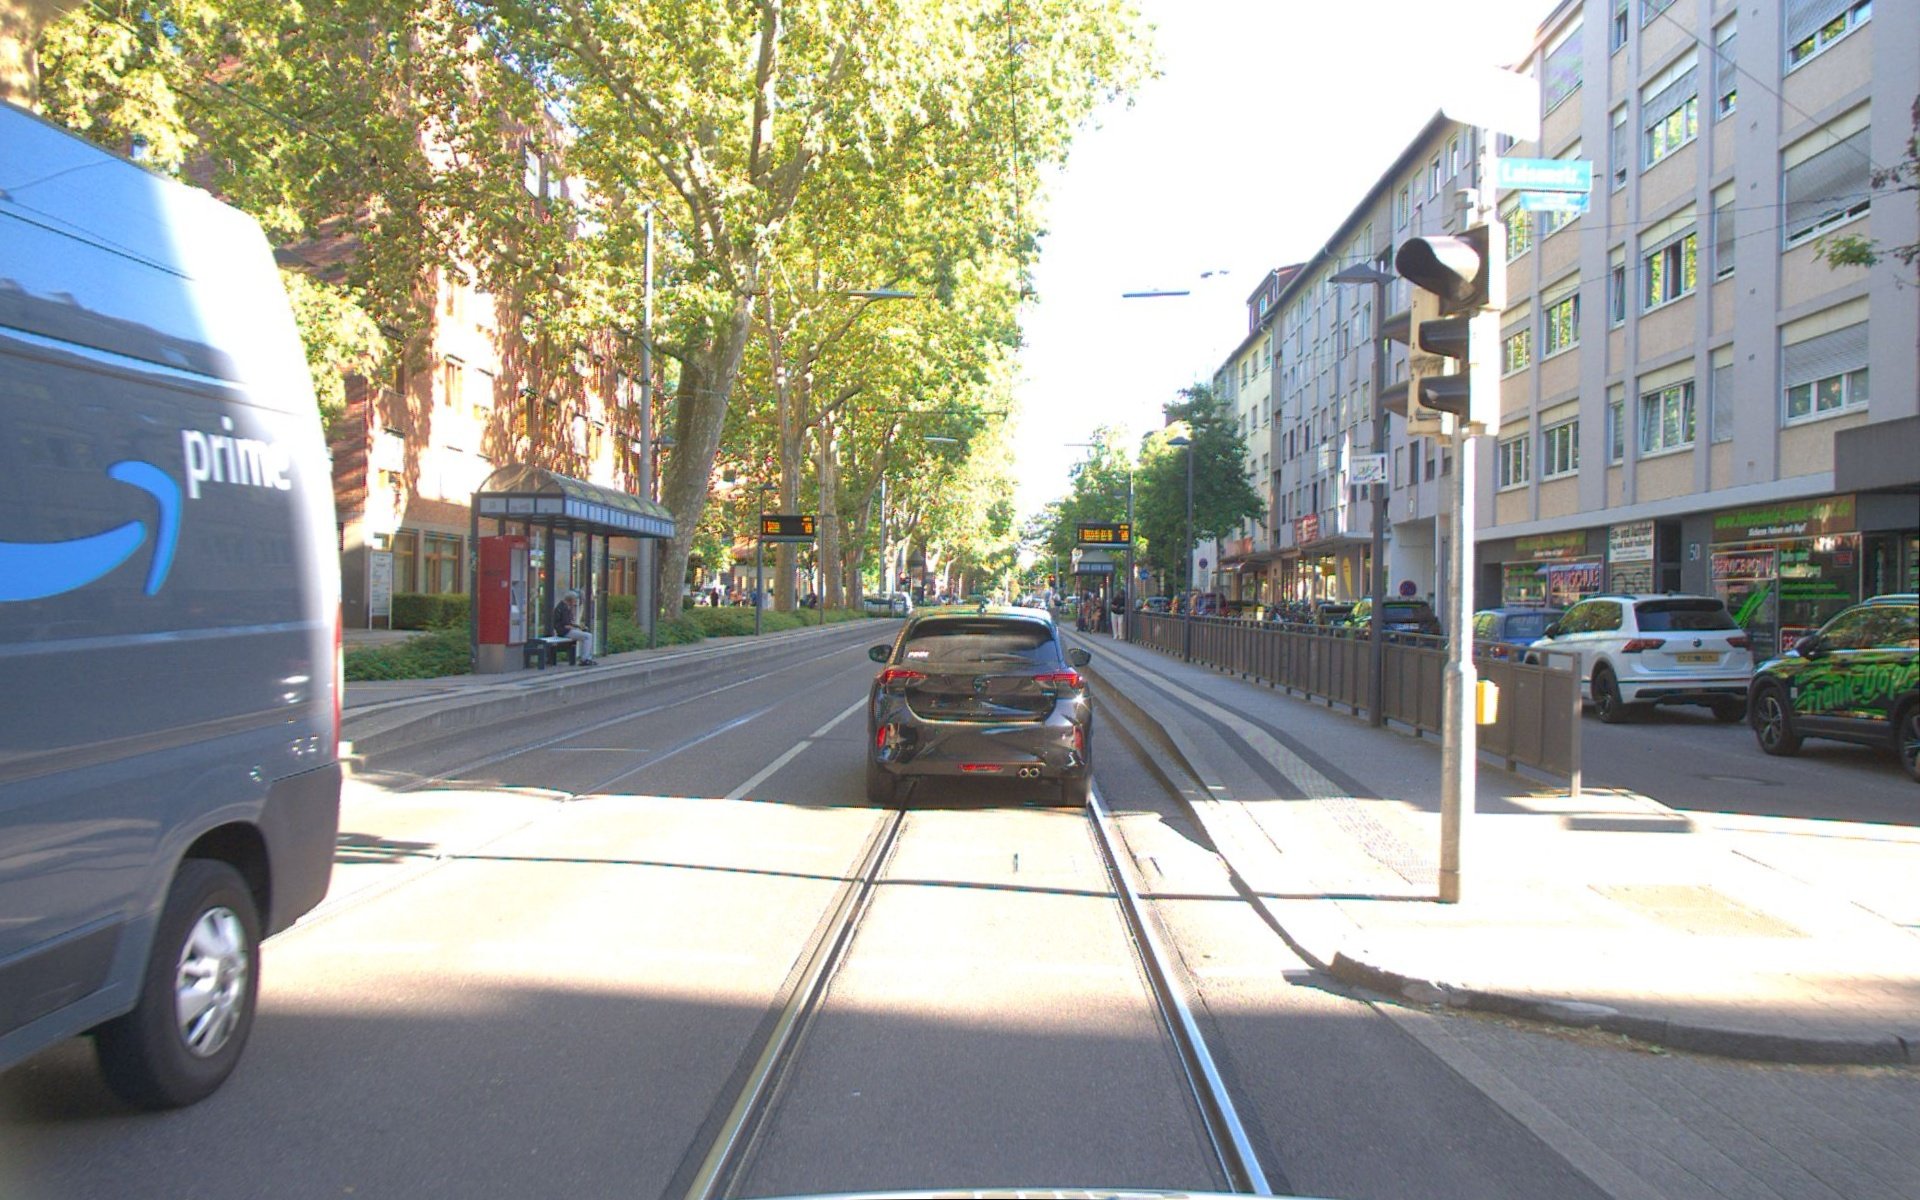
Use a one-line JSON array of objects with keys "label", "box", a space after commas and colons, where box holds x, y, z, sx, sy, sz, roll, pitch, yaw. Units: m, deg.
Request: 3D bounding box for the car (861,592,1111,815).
[{"label": "car", "box": [0.165, 0.730, 13.300, 1.724, 1.534, 3.682, 0, 0, -1]}]

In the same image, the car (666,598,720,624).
[{"label": "car", "box": [-22.608, 0.959, 139.989, 4.162, 2.049, 2.000, 2, -1, 1]}]

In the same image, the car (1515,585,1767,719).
[{"label": "car", "box": [9.311, 0.664, 23.024, 1.762, 1.634, 4.416, 2, 0, 2]}]

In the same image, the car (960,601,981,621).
[{"label": "car", "box": [0.844, 0.888, 137.007, 1.709, 1.571, 4.000, 2, 0, 0]}]

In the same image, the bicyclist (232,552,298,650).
[{"label": "bicyclist", "box": [-12.994, 0.020, 30.945, 0.759, 1.780, 0.997, 2, -1, -1]}]

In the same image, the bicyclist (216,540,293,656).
[{"label": "bicyclist", "box": [-11.278, -0.028, 26.467, 0.766, 1.794, 0.951, 2, -1, -1]}]

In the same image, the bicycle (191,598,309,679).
[{"label": "bicycle", "box": [-11.309, 0.599, 26.454, 0.766, 1.212, 2.595, 2, 0, -1]}]

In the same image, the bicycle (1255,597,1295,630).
[{"label": "bicycle", "box": [11.260, 0.476, 59.129, 0.591, 1.156, 2.429, 2, 0, -9]}]

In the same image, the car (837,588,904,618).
[{"label": "car", "box": [-5.587, 0.204, 102.919, 4.034, 1.730, 1.881, 2, -1, -6]}]

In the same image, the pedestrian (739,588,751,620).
[{"label": "pedestrian", "box": [-13.707, 0.250, 105.354, 0.658, 1.984, 0.498, 3, 0, -2]}]

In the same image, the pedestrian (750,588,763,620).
[{"label": "pedestrian", "box": [-12.855, 0.259, 104.598, 0.658, 1.984, 0.498, 3, 0, -2]}]

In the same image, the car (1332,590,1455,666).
[{"label": "car", "box": [10.106, 0.634, 38.841, 1.819, 1.644, 4.398, 2, 0, 2]}]

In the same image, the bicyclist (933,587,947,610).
[{"label": "bicyclist", "box": [-1.565, -0.142, 128.269, 0.921, 1.732, 1.153, 2, -1, 4]}]

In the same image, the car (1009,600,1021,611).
[{"label": "car", "box": [8.225, 0.827, 247.964, 1.709, 1.571, 4.000, 2, 0, 0]}]

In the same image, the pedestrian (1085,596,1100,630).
[{"label": "pedestrian", "box": [5.214, 0.504, 64.994, 0.492, 1.327, 0.428, 2, -1, -3]}]

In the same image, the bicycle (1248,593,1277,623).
[{"label": "bicycle", "box": [12.171, 0.321, 66.679, 0.585, 1.156, 2.202, 2, 0, -4]}]

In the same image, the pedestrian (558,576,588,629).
[{"label": "pedestrian", "box": [-12.877, 0.085, 54.994, 0.720, 1.701, 0.861, 2, -1, 2]}]

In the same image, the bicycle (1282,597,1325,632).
[{"label": "bicycle", "box": [11.711, 0.485, 56.474, 0.610, 1.156, 2.434, 2, 0, -9]}]

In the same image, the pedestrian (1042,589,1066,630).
[{"label": "pedestrian", "box": [4.088, 0.408, 71.836, 0.737, 1.739, 0.760, 1, -1, 36]}]

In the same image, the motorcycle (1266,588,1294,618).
[{"label": "motorcycle", "box": [14.137, 0.138, 73.158, 0.873, 1.302, 2.043, 2, 0, 2]}]

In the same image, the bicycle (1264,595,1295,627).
[{"label": "bicycle", "box": [12.088, 0.416, 62.627, 0.402, 1.156, 2.199, 2, 0, -9]}]

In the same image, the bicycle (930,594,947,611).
[{"label": "bicycle", "box": [-1.645, 0.215, 127.357, 0.935, 1.262, 2.979, 2, 0, 5]}]

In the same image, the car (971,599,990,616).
[{"label": "car", "box": [2.181, 0.845, 180.055, 1.953, 1.723, 4.000, 2, 0, 0]}]

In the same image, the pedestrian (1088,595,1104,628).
[{"label": "pedestrian", "box": [5.242, 0.458, 63.788, 0.523, 1.252, 0.510, 2, -1, -3]}]

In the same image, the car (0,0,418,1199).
[{"label": "car", "box": [-3.065, 0.032, 2.910, 2.070, 2.786, 6.115, 0, 0, 1]}]

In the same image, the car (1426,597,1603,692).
[{"label": "car", "box": [9.464, 0.732, 28.570, 1.708, 1.465, 4.248, 2, 0, 2]}]

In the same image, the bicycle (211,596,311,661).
[{"label": "bicycle", "box": [-13.016, 0.516, 30.893, 0.766, 1.130, 2.595, 2, 0, -1]}]

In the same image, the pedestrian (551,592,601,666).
[{"label": "pedestrian", "box": [-6.290, 0.466, 27.114, 0.691, 1.189, 0.659, 0, -1, -2]}]

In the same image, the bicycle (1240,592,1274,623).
[{"label": "bicycle", "box": [11.714, 0.297, 65.220, 0.586, 1.156, 2.199, 2, 0, -9]}]

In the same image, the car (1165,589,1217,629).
[{"label": "car", "box": [11.119, 0.458, 79.894, 1.952, 1.829, 4.000, 2, 0, 1]}]

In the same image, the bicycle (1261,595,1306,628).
[{"label": "bicycle", "box": [11.778, 0.412, 60.292, 0.600, 1.156, 2.915, 2, 0, -9]}]

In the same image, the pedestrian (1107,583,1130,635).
[{"label": "pedestrian", "box": [5.075, 0.288, 52.943, 0.618, 1.603, 0.871, 3, 0, 2]}]

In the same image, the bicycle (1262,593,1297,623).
[{"label": "bicycle", "box": [12.380, 0.310, 64.193, 0.586, 1.156, 2.199, 2, 0, -9]}]

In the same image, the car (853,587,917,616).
[{"label": "car", "box": [-5.217, 0.128, 114.917, 4.300, 1.884, 1.998, 2, -1, -6]}]

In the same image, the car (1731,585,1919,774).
[{"label": "car", "box": [9.371, 0.696, 15.872, 1.952, 1.644, 4.446, -1, 0, 2]}]

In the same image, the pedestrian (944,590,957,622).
[{"label": "pedestrian", "box": [-0.589, 0.399, 107.108, 0.661, 2.048, 0.702, 3, 0, 8]}]

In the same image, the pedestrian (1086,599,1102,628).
[{"label": "pedestrian", "box": [5.226, 0.514, 64.387, 0.523, 1.119, 0.550, 2, -1, -3]}]

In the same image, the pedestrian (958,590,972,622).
[{"label": "pedestrian", "box": [0.303, 0.389, 106.980, 0.661, 2.048, 0.702, 3, 0, 13]}]

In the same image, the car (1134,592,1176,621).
[{"label": "car", "box": [10.826, 0.383, 92.137, 1.952, 1.512, 4.001, 2, 0, 2]}]

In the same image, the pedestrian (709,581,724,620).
[{"label": "pedestrian", "box": [-12.465, 0.042, 84.643, 0.658, 1.984, 0.498, 2, -1, -2]}]

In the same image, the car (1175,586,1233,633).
[{"label": "car", "box": [10.761, 0.420, 73.193, 1.952, 1.986, 4.000, 2, 0, 1]}]
